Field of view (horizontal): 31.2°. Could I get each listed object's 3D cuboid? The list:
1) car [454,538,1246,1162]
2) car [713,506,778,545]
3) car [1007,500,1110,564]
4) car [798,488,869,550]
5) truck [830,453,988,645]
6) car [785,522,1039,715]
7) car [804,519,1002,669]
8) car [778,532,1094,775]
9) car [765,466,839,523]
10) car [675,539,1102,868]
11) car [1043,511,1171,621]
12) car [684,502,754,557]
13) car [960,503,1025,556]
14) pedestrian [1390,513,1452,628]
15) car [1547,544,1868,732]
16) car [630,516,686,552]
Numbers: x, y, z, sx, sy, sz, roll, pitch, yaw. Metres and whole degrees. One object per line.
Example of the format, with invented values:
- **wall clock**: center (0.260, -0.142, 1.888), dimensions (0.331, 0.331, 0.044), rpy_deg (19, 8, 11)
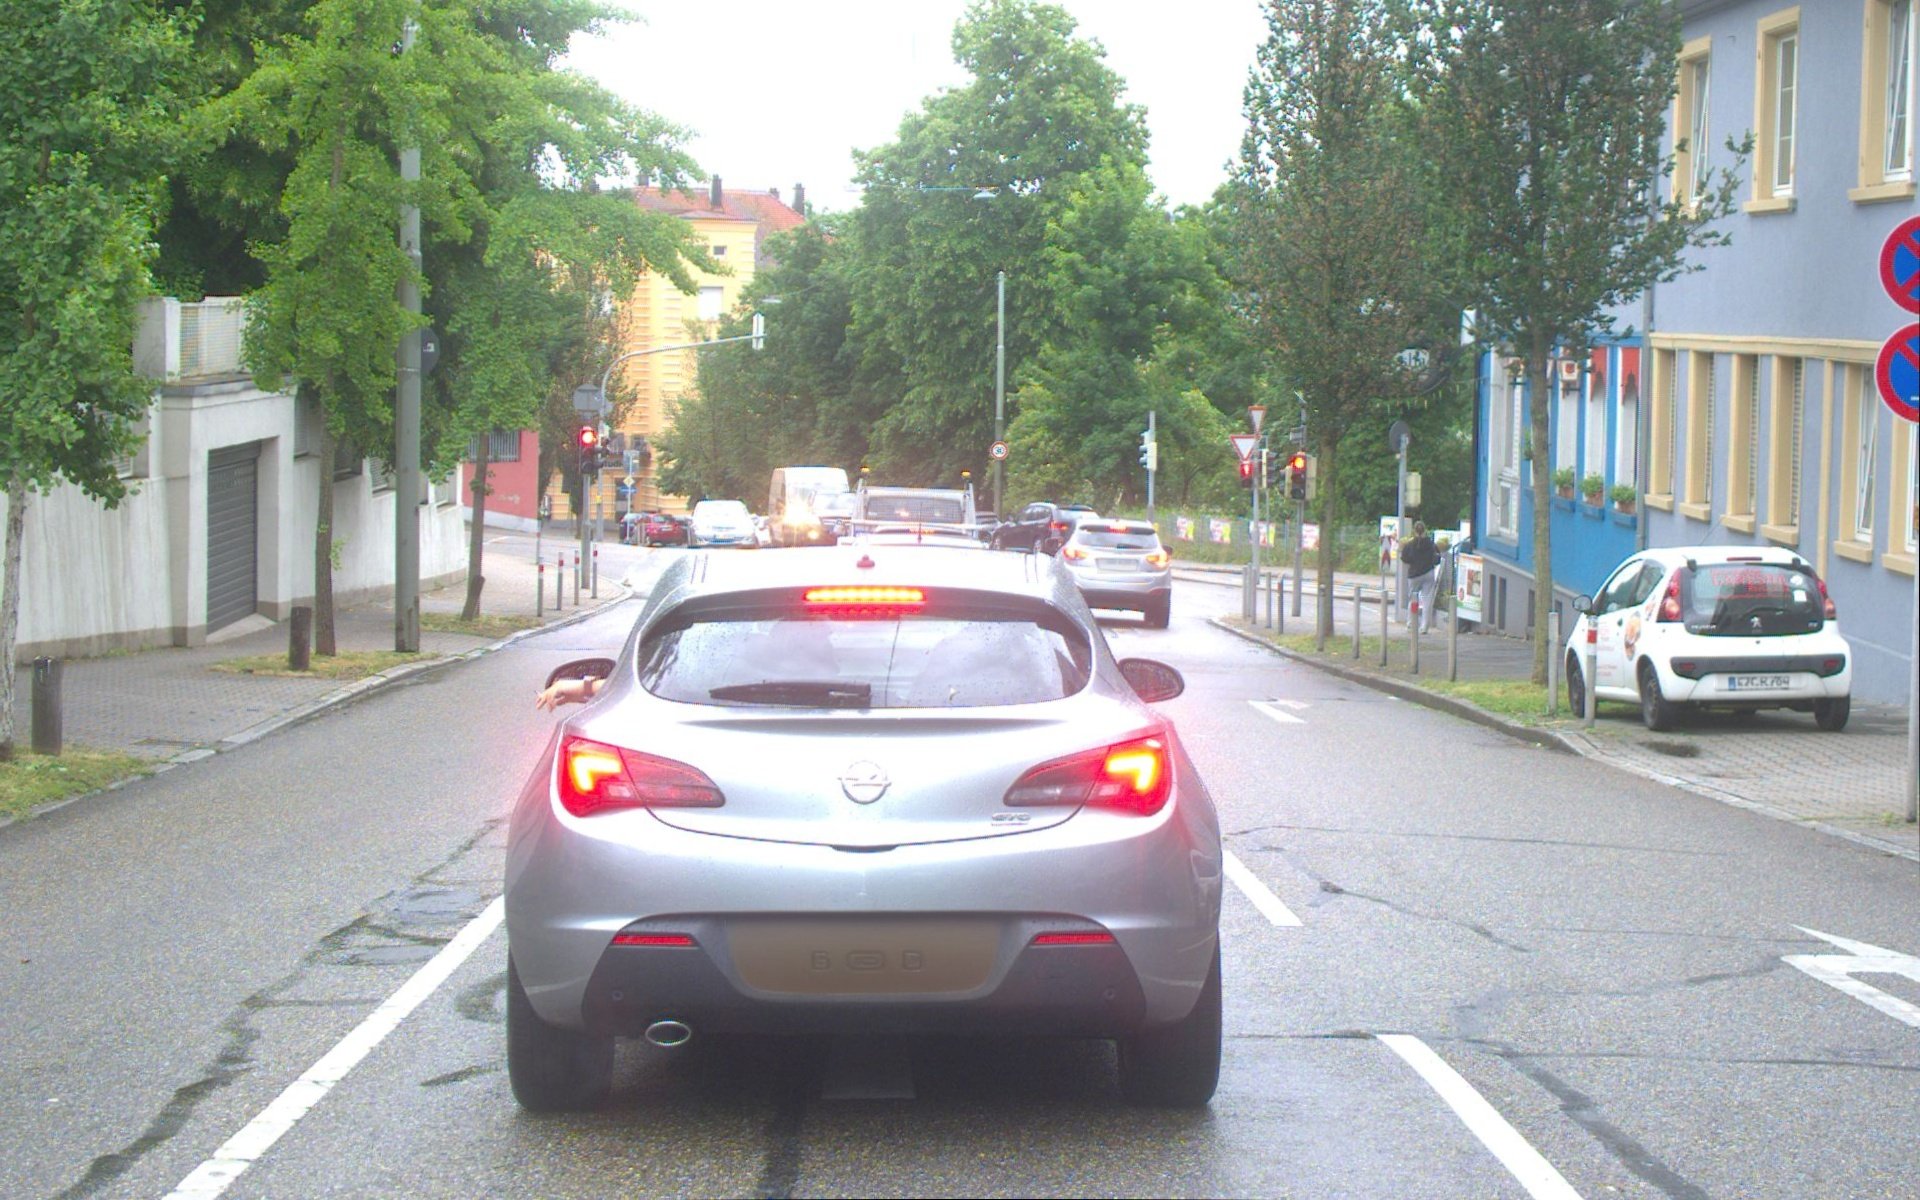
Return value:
- **car**: center (-0.337, 0.557, 10.022), dimensions (1.837, 1.429, 3.880), rpy_deg (1, 1, -2)
- **car**: center (-8.704, -3.023, 139.339), dimensions (1.722, 1.538, 3.881), rpy_deg (0, 1, -18)
- **car**: center (2.552, -1.791, 89.802), dimensions (1.722, 1.632, 3.881), rpy_deg (0, 1, -14)
- **car**: center (-3.382, -2.177, 92.607), dimensions (1.870, 1.632, 3.880), rpy_deg (0, 1, -2)
- **truck**: center (-0.732, -0.725, 47.102), dimensions (1.962, 2.420, 4.936), rpy_deg (2, 1, -2)
- **car**: center (-0.446, 0.103, 29.451), dimensions (1.962, 1.443, 4.306), rpy_deg (2, 1, -2)
- **car**: center (-0.643, -0.113, 37.110), dimensions (1.962, 1.443, 4.306), rpy_deg (2, 1, -2)
- **car**: center (-0.215, 0.301, 24.072), dimensions (1.962, 1.443, 4.306), rpy_deg (2, 1, -2)
- **car**: center (-4.619, -3.055, 100.231), dimensions (1.722, 1.632, 3.881), rpy_deg (0, 1, -9)
- **car**: center (-0.402, 0.452, 18.352), dimensions (1.962, 1.443, 4.306), rpy_deg (2, 1, -2)
- **car**: center (2.323, -0.567, 55.137), dimensions (1.722, 1.708, 3.880), rpy_deg (0, 1, -2)
- **car**: center (-6.477, -1.909, 92.591), dimensions (1.722, 1.455, 3.880), rpy_deg (0, 1, -2)
- **car**: center (1.014, -2.241, 108.903), dimensions (1.722, 1.632, 3.880), rpy_deg (0, 1, -4)
- **pedestrian**: center (7.025, -0.458, 52.429), dimensions (0.783, 1.723, 0.651), rpy_deg (2, 1, 0)
- **car**: center (6.155, 0.266, 28.712), dimensions (1.722, 1.443, 3.880), rpy_deg (0, 1, -2)
- **car**: center (-13.911, -3.058, 158.108), dimensions (1.722, 1.632, 3.881), rpy_deg (0, 1, -18)
